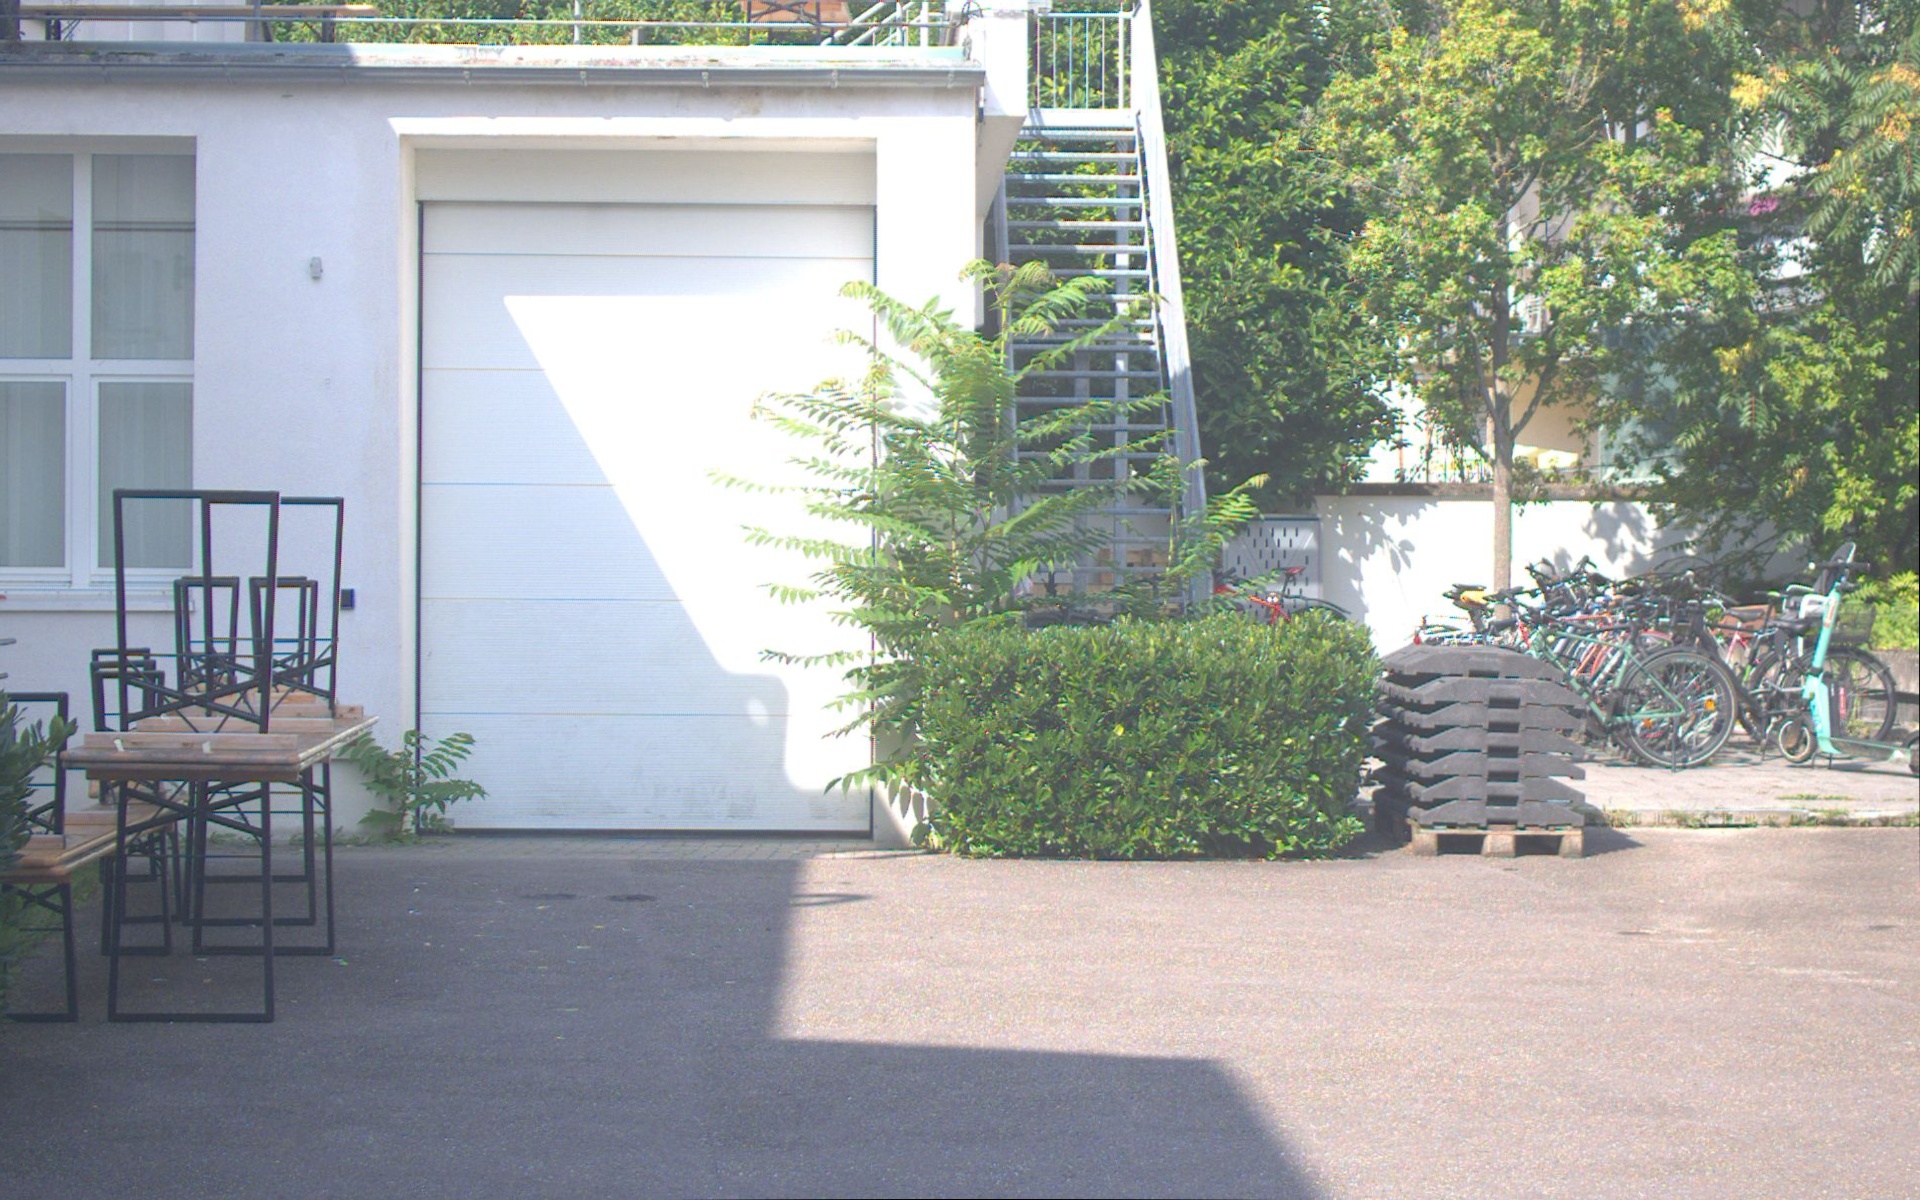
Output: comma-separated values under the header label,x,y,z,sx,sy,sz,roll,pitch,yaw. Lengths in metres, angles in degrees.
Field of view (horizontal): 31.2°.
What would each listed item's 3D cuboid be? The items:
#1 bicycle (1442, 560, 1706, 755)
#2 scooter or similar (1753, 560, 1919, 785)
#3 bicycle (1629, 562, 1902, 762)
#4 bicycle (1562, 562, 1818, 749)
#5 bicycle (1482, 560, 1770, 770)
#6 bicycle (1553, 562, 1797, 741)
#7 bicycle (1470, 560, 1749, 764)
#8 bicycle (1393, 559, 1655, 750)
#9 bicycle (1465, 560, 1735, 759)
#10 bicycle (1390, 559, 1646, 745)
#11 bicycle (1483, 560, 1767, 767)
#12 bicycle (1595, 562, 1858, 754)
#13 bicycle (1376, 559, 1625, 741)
label,x,y,z,sx,sy,sz,roll,pitch,yaw
bicycle,3.861,0.358,21.633,1.624,1.210,0.327,0,1,12
scooter or similar,5.246,0.403,19.985,0.378,1.256,1.349,-1,1,-33
bicycle,4.957,0.378,21.191,1.624,1.210,0.327,0,1,14
bicycle,4.795,0.359,22.625,1.624,1.210,0.424,0,1,11
bicycle,3.907,0.377,20.203,1.623,1.210,0.327,0,1,0
bicycle,4.908,0.348,23.654,1.624,1.210,0.424,0,1,11
bicycle,3.927,0.369,20.819,1.623,1.210,0.327,0,1,0
bicycle,3.654,0.348,22.306,1.623,1.210,0.424,0,1,-2
bicycle,3.950,0.364,21.270,1.623,1.210,0.327,0,1,9
bicycle,3.720,0.341,22.942,1.623,1.210,0.424,-1,1,-7
bicycle,3.964,0.374,20.526,1.623,1.210,0.327,0,1,0
bicycle,4.907,0.368,22.051,1.624,1.210,0.424,0,1,12
bicycle,3.698,0.333,23.544,1.623,1.210,0.424,-1,1,-6
